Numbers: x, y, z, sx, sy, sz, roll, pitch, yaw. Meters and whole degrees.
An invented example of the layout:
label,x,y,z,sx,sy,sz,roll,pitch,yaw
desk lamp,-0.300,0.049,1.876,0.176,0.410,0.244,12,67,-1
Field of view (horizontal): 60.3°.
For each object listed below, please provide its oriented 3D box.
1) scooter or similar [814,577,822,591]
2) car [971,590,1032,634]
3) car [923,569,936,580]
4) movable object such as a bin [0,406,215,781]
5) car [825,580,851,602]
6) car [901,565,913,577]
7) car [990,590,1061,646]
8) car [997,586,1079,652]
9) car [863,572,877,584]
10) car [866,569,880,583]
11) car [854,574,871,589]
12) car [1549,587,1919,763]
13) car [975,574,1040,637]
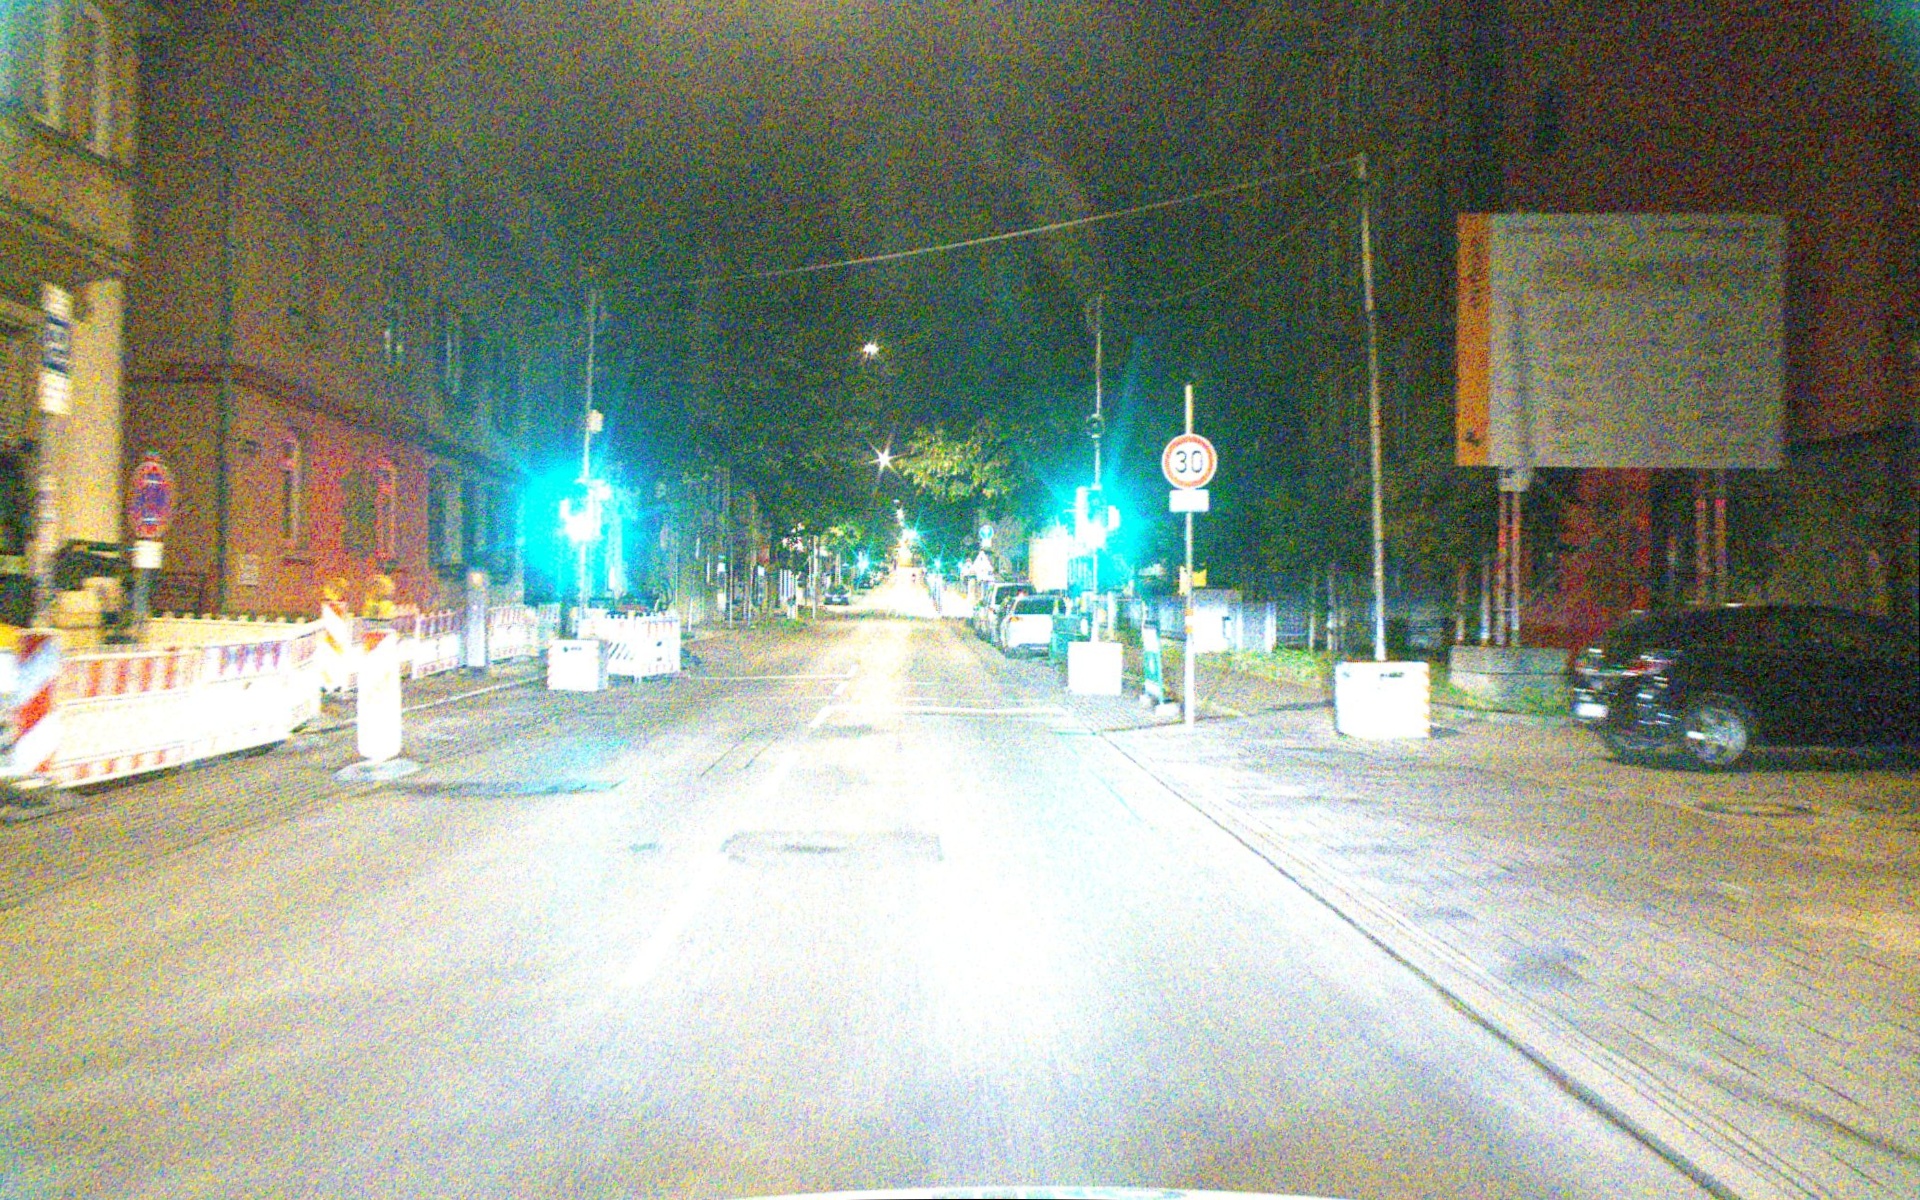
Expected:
label,x,y,z,sx,sy,sz,roll,pitch,yaw
scooter or similar,-12.430,-1.383,144.678,0.517,1.185,2.506,-1,-1,-2
car,1.406,0.376,57.147,1.693,1.444,4.320,1,0,-4
car,-4.414,-3.794,241.555,1.835,1.571,4.203,1,1,-2
movable object such as a bin,-7.624,-0.053,13.302,1.539,2.672,3.909,0,0,-1
car,-8.773,-0.665,118.953,1.637,1.468,4.203,1,1,-2
car,-8.155,-4.432,254.173,1.835,1.846,4.204,1,1,-1
car,1.776,0.466,45.795,1.652,1.445,4.442,0,0,-2
car,1.883,0.424,40.943,1.704,1.503,3.999,-2,1,-1
car,-12.411,-3.049,228.327,1.835,1.571,4.203,1,1,-2
car,-12.271,-3.401,234.251,1.835,1.846,4.204,1,1,-2
car,-11.215,-2.146,190.946,1.835,1.571,4.203,1,1,-2
car,7.538,0.655,14.701,3.934,1.447,1.851,0,-1,-4
car,1.450,0.141,52.141,1.701,1.887,4.313,0,0,-3
